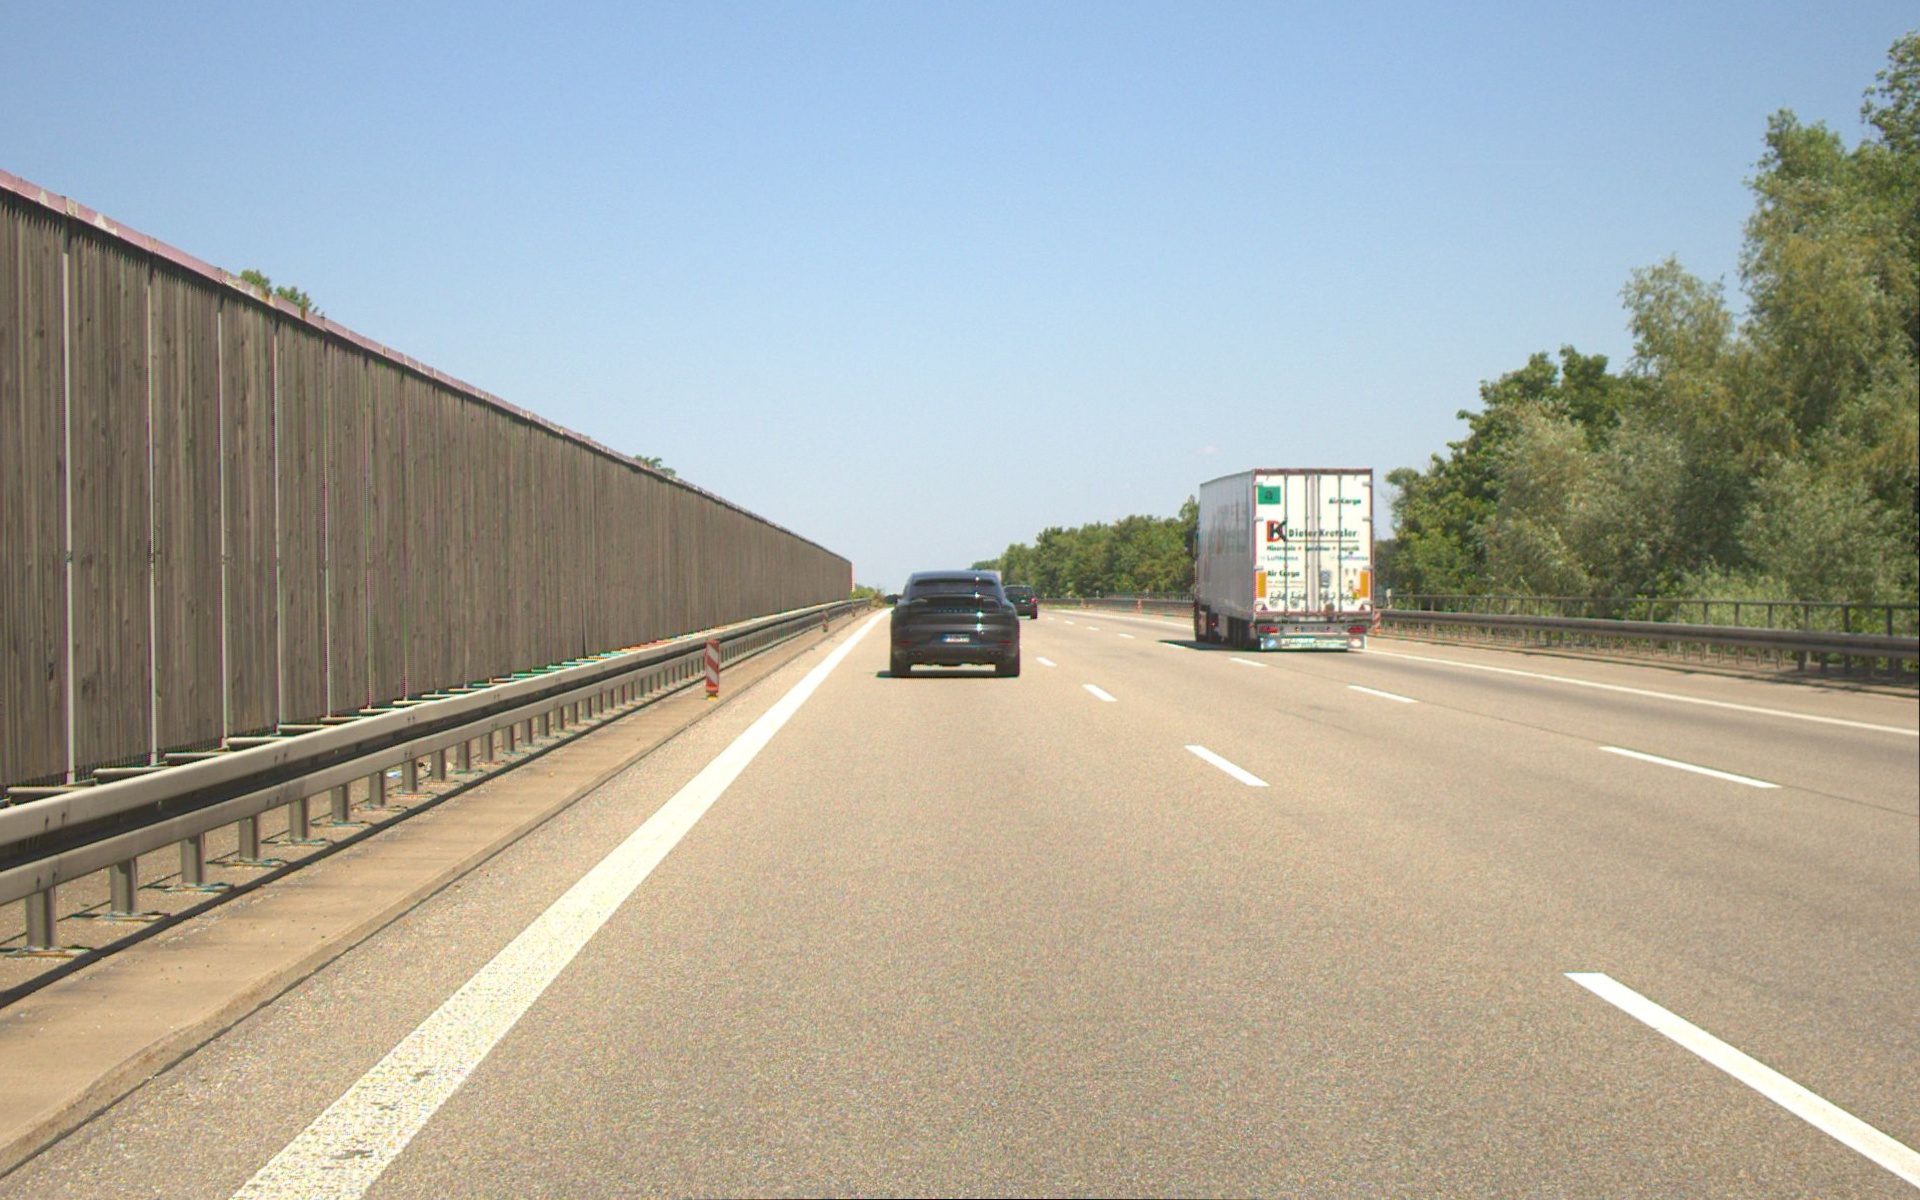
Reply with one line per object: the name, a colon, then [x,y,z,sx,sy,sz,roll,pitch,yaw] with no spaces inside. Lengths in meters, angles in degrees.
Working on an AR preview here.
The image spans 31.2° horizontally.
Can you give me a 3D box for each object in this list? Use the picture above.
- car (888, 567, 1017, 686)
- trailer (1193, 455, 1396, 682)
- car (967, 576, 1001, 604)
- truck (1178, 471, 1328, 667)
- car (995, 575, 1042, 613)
car: [-0.149,0.379,53.798,1.880,1.786,4.000,0,1,-2]
trailer: [7.617,-0.720,80.497,3.269,4.821,14.029,0,0,0]
car: [1.374,-0.584,201.318,1.903,1.578,4.304,-1,-1,0]
truck: [7.566,-0.803,89.646,3.234,4.872,6.972,0,0,0]
car: [2.519,-0.236,149.515,1.903,1.578,4.304,-1,-1,0]
